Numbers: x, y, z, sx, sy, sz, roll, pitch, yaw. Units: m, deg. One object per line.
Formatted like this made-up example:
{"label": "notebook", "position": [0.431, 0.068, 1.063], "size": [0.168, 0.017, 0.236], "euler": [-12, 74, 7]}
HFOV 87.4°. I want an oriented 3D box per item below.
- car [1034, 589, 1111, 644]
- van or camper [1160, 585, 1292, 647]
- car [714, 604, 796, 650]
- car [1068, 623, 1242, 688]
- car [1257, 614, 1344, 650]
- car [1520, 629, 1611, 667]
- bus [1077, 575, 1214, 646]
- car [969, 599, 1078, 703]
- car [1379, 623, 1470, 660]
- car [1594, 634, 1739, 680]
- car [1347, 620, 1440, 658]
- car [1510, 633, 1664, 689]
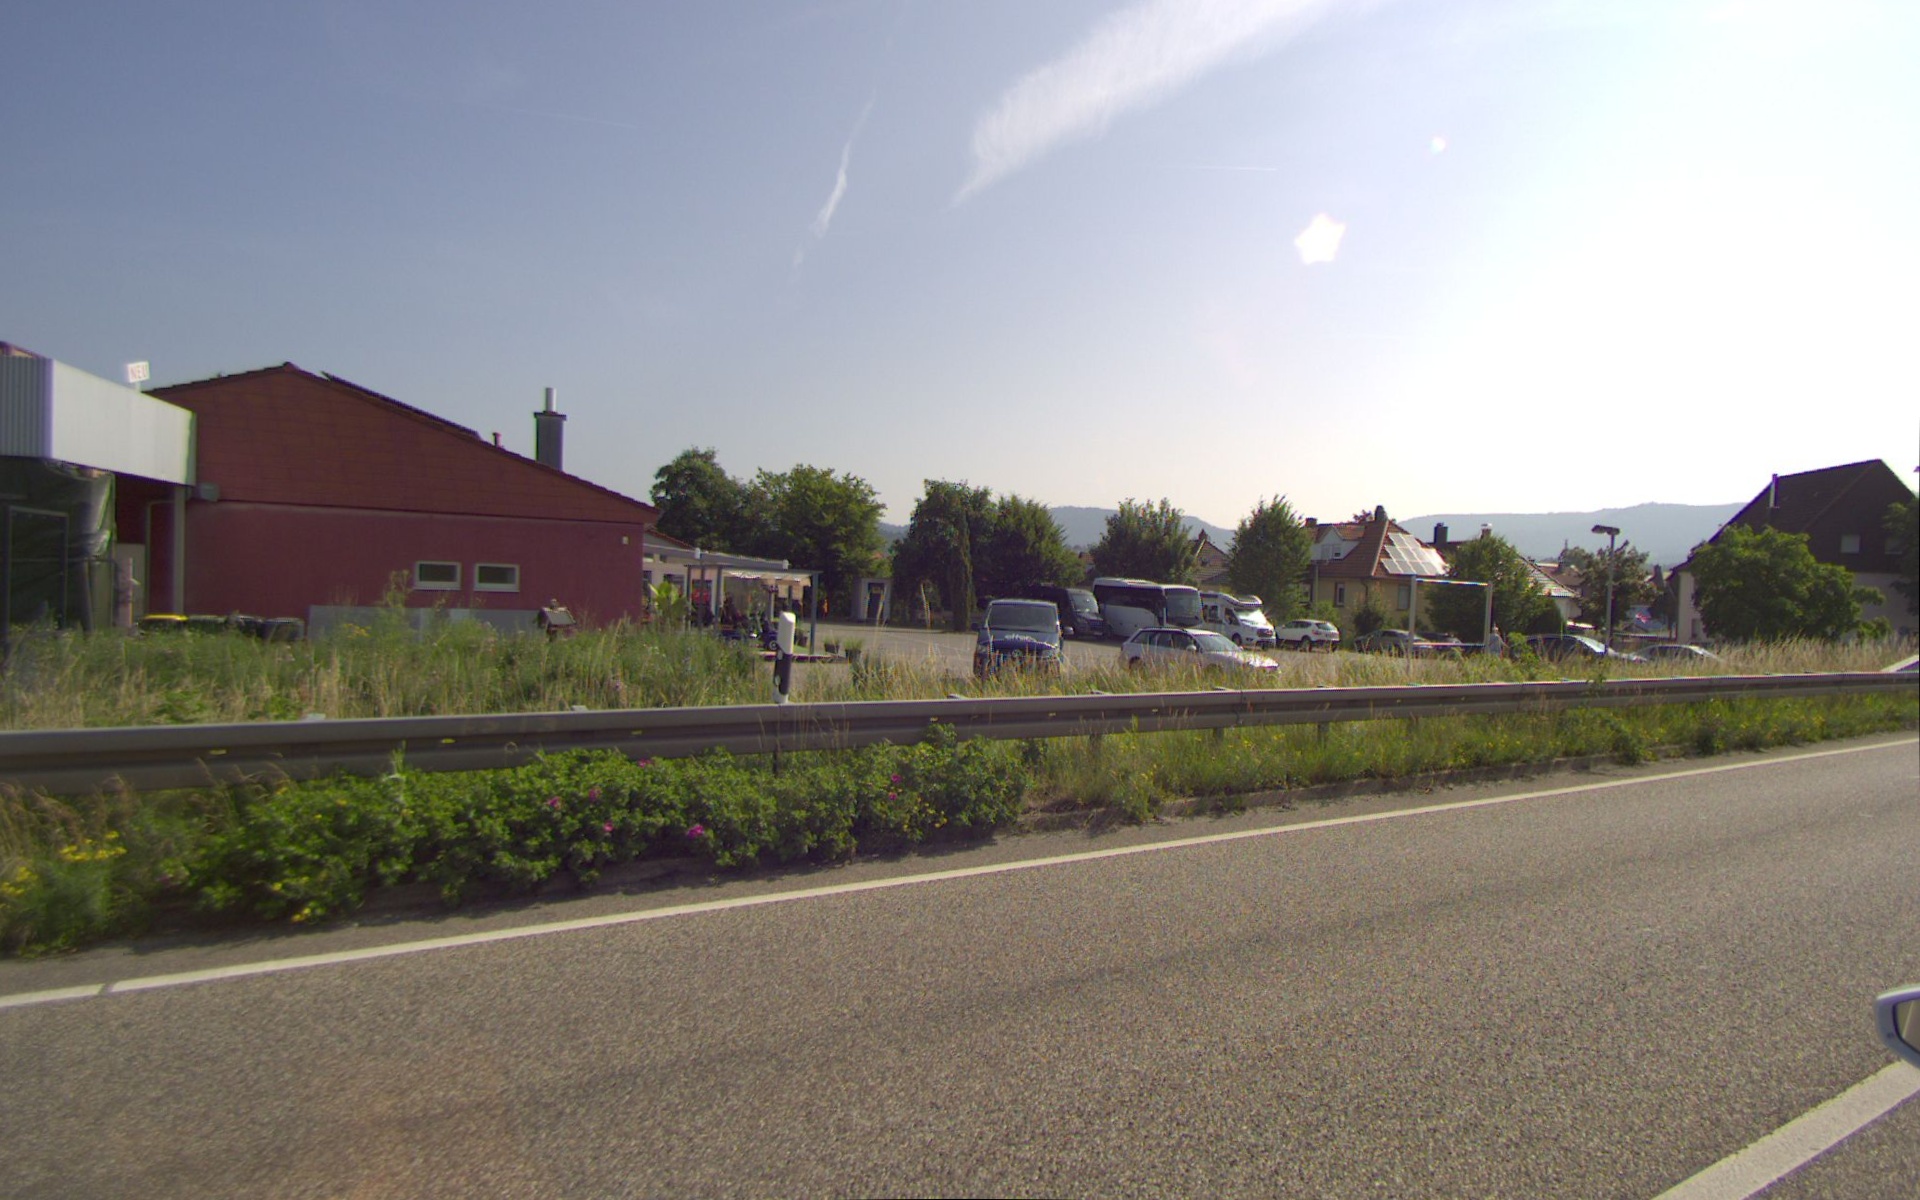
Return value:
{"label": "car", "position": [5.968, 0.826, 53.871], "size": [1.836, 2.696, 5.009], "euler": [1, 2, -23]}
{"label": "van or camper", "position": [13.833, 0.771, 52.935], "size": [2.708, 2.880, 7.376], "euler": [2, 1, -23]}
{"label": "car", "position": [-5.578, 0.739, 27.358], "size": [1.992, 1.161, 0.811], "euler": [3, 0, -28]}
{"label": "car", "position": [4.985, 1.381, 26.282], "size": [1.725, 1.400, 4.586], "euler": [1, 0, -34]}
{"label": "car", "position": [18.108, 1.684, 53.633], "size": [1.836, 1.655, 4.546], "euler": [1, 1, -23]}
{"label": "car", "position": [34.940, 2.740, 58.097], "size": [1.834, 1.655, 4.151], "euler": [4, 3, -20]}
{"label": "bus", "position": [9.634, 0.407, 53.575], "size": [2.627, 3.400, 9.076], "euler": [0, 2, -23]}
{"label": "car", "position": [1.549, 1.017, 22.707], "size": [1.959, 2.040, 4.908], "euler": [1, 0, 9]}
{"label": "car", "position": [25.756, 2.256, 55.869], "size": [1.834, 1.655, 4.551], "euler": [4, 0, -20]}
{"label": "car", "position": [27.583, 2.173, 39.360], "size": [1.852, 1.524, 4.279], "euler": [1, 0, -30]}
{"label": "car", "position": [23.352, 2.067, 54.281], "size": [1.836, 1.655, 4.546], "euler": [4, 0, -23]}
{"label": "car", "position": [22.395, 2.119, 36.031], "size": [1.854, 1.687, 4.273], "euler": [1, 0, -33]}
